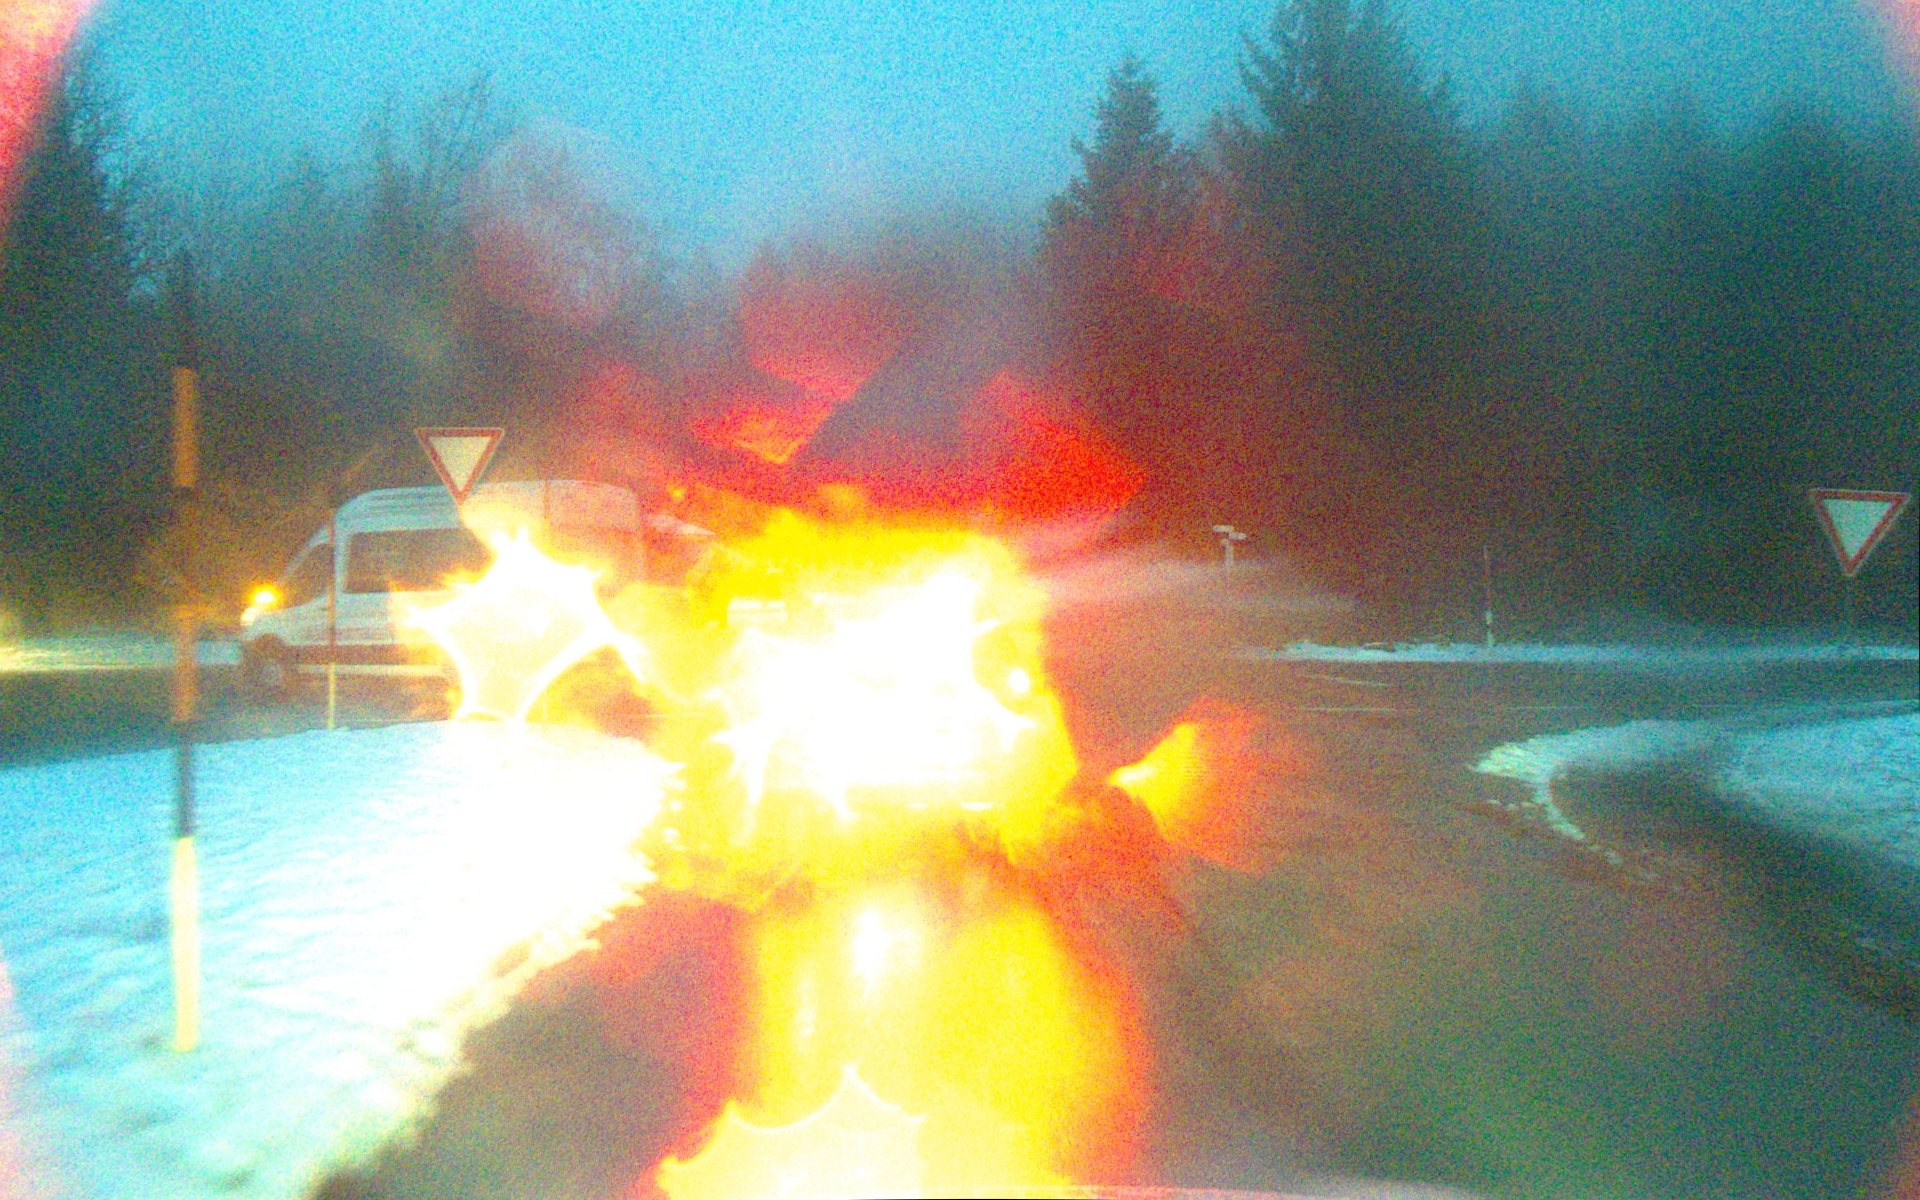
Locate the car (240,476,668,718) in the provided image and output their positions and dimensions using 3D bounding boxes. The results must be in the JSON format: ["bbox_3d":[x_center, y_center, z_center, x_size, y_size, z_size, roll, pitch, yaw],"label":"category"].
[{"bbox_3d":[-6.523,-0.046,21.116,5.411,2.743,2.148,1,-1,32],"label":"car"}]

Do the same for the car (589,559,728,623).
[{"bbox_3d":[-9.497,-0.276,52.234,3.863,1.914,2.001,1,-1,7],"label":"car"}]

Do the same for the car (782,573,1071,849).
[{"bbox_3d":[-0.226,0.634,11.575,1.658,1.579,3.855,1,0,-1],"label":"car"}]

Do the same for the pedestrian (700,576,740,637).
[{"bbox_3d":[-7.506,0.198,51.717,0.940,1.860,0.926,1,-1,12],"label":"pedestrian"}]
